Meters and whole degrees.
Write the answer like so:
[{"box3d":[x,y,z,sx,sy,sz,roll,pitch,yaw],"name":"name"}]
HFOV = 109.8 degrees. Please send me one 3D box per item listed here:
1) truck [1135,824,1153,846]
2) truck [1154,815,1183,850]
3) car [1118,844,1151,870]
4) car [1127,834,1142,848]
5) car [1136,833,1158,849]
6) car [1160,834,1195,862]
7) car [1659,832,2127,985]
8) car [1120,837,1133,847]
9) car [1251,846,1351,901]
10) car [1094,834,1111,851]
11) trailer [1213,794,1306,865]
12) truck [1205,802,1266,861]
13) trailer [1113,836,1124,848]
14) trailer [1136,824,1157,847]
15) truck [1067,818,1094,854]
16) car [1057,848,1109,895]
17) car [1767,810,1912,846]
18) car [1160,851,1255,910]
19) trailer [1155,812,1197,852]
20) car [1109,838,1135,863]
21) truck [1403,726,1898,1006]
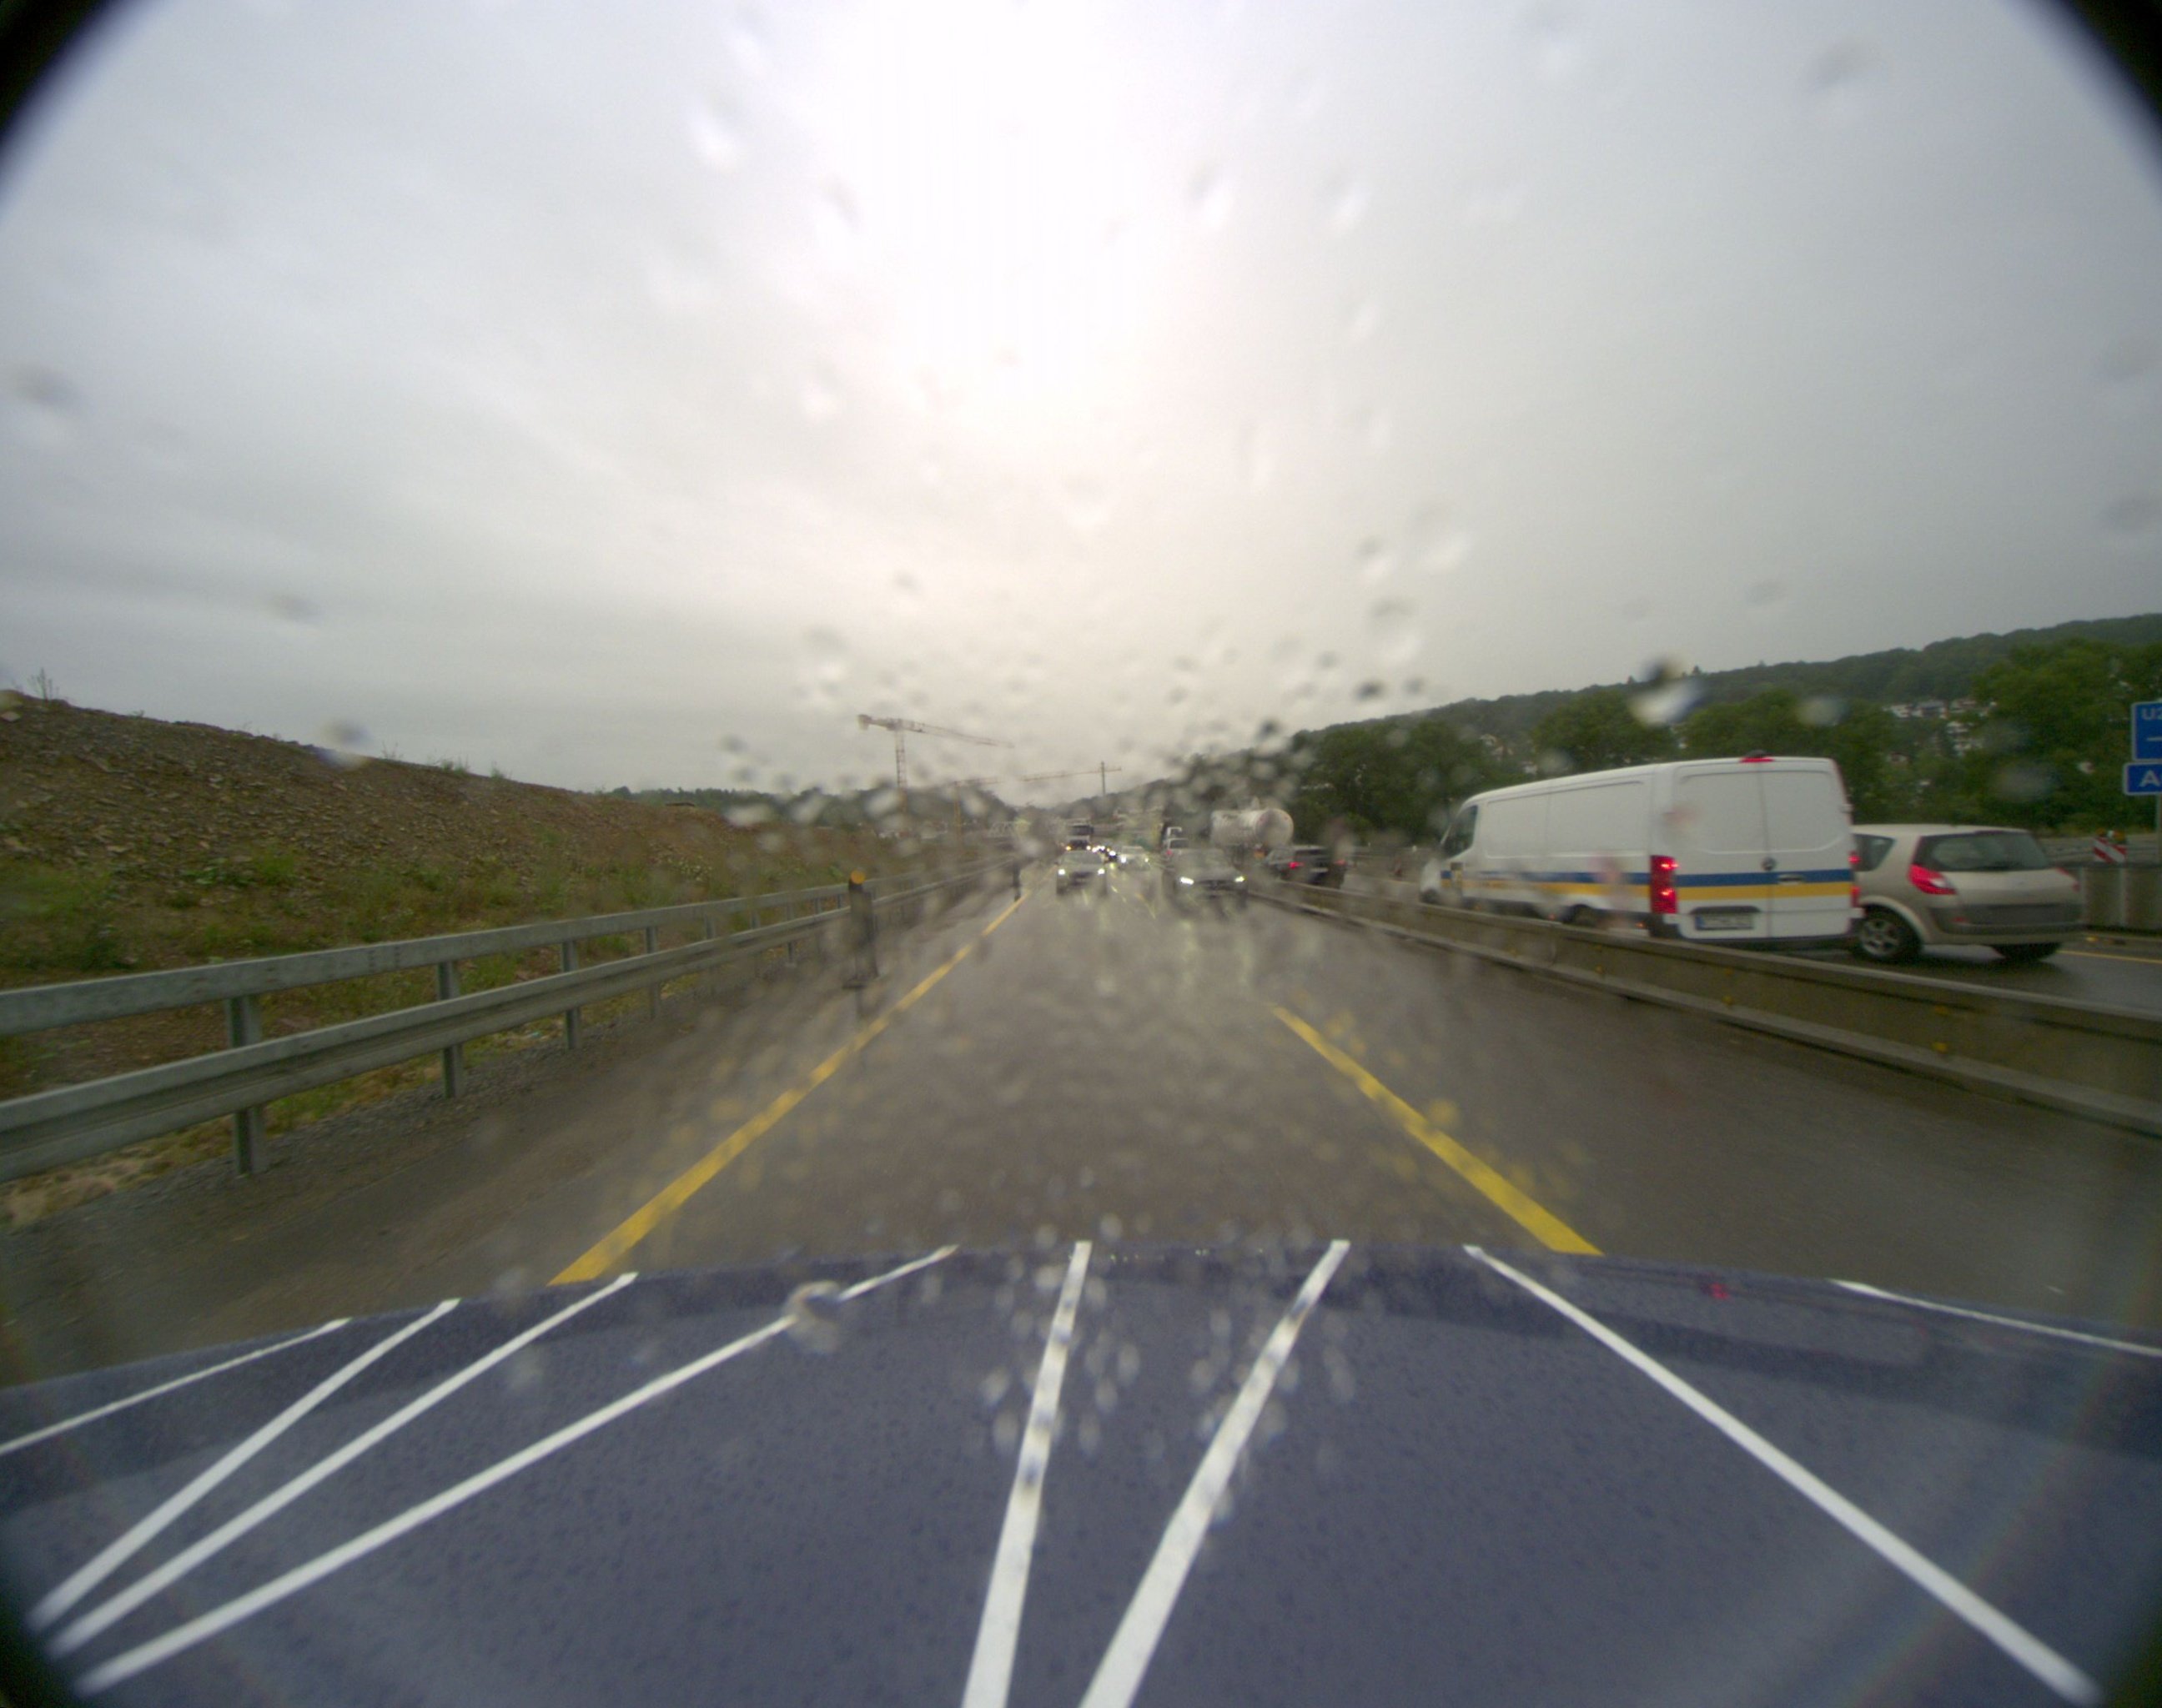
[{"box3d":[11.326,-3.356,136.955,2.693,3.905,5.272,0,2,0],"name":"truck"},{"box3d":[10.527,-2.608,92.000,2.756,4.039,6.146,-2,2,0],"name":"truck"},{"box3d":[3.306,0.159,47.853,1.781,1.430,4.482,-2,1,1],"name":"car"},{"box3d":[7.467,-1.834,106.776,1.792,1.795,5.188,0,2,0],"name":"car"},{"box3d":[7.315,-1.463,84.414,1.998,1.749,4.686,-2,1,0],"name":"car"},{"box3d":[6.712,-0.456,53.355,1.870,1.790,4.161,-2,1,0],"name":"car"},{"box3d":[9.940,0.552,9.868,1.792,1.537,3.999,-2,1,0],"name":"car"},{"box3d":[8.234,-2.251,138.092,1.879,1.783,5.358,-1,2,0],"name":"car"},{"box3d":[6.836,0.536,24.112,1.777,1.496,4.678,-1,1,0],"name":"car"},{"box3d":[2.756,-1.474,96.586,1.998,2.001,4.187,-2,-1,0],"name":"car"},{"box3d":[10.356,-1.399,45.574,2.627,3.657,12.000,-2,1,0],"name":"trailer"},{"box3d":[10.319,-1.518,51.379,2.627,3.657,6.593,-2,1,0],"name":"truck"},{"box3d":[12.922,-4.105,263.995,3.285,3.886,13.697,-2,1,1],"name":"trailer"},{"box3d":[11.323,-3.225,132.140,2.692,3.941,9.816,0,2,0],"name":"trailer"},{"box3d":[0.034,-1.820,77.611,2.575,3.451,6.625,-2,2,1],"name":"truck"},{"box3d":[0.094,0.603,28.814,1.781,1.514,4.139,-2,2,1],"name":"car"},{"box3d":[39.382,-1.351,39.616,5.034,1.690,1.852,-1,2,20],"name":"car"},{"box3d":[3.380,0.664,21.194,1.951,1.430,4.484,-2,0,1],"name":"car"},{"box3d":[10.456,-2.443,85.180,2.756,4.019,15.354,-2,1,0],"name":"trailer"},{"box3d":[3.442,-0.321,63.446,1.998,2.002,4.001,-1,1,4],"name":"car"},{"box3d":[6.620,0.079,10.110,2.084,2.561,5.961,-2,1,0],"name":"truck"}]
